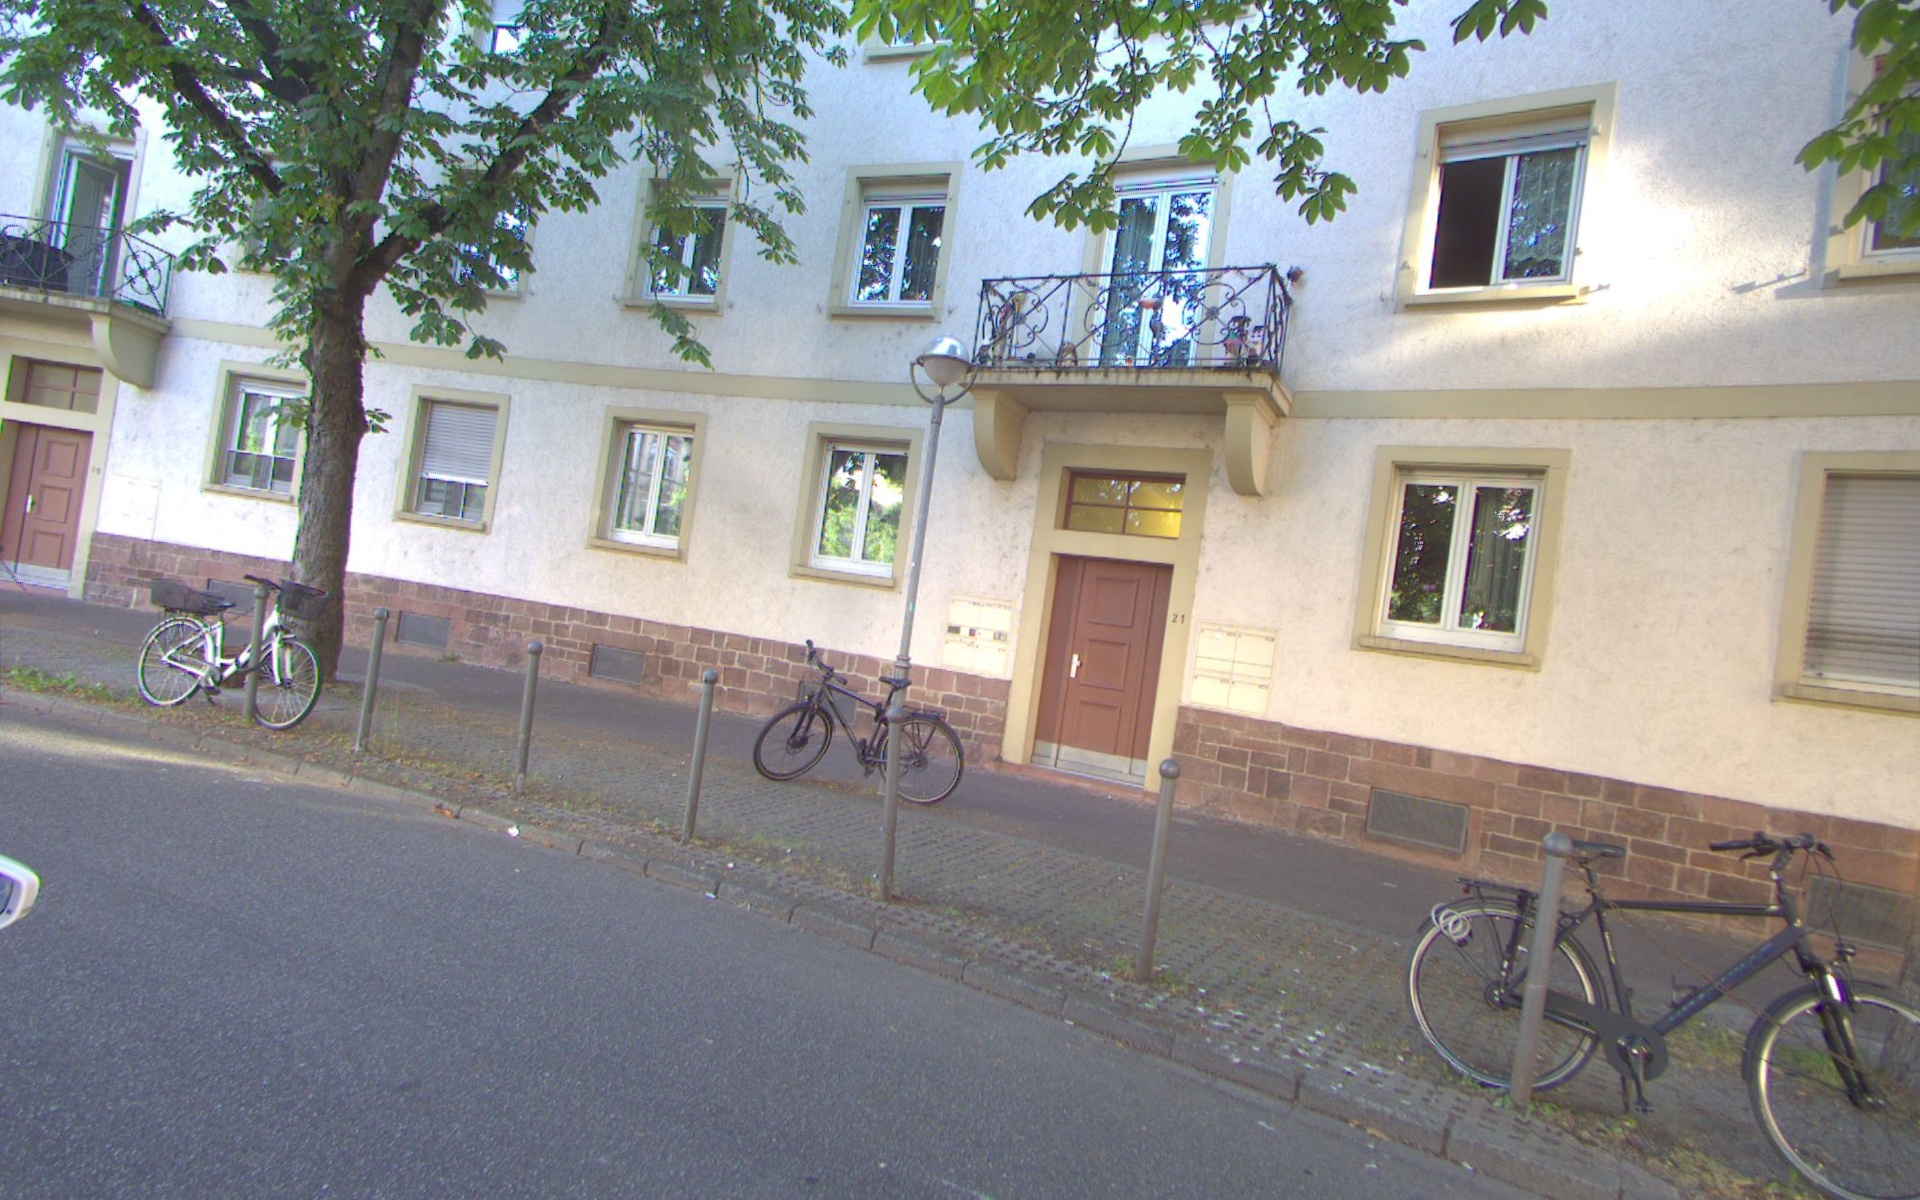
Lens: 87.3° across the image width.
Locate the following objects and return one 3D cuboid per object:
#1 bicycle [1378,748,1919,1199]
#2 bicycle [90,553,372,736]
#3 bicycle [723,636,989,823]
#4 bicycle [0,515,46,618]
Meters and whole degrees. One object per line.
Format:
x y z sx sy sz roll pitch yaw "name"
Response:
2.632 1.329 3.634 1.881 1.237 0.719 7 -1 29 "bicycle"
-5.649 0.329 7.800 1.936 1.109 0.514 8 0 12 "bicycle"
-0.790 0.989 7.994 1.823 1.131 0.804 8 -1 8 "bicycle"
-11.701 -0.505 11.567 1.929 1.120 0.670 8 -2 13 "bicycle"
